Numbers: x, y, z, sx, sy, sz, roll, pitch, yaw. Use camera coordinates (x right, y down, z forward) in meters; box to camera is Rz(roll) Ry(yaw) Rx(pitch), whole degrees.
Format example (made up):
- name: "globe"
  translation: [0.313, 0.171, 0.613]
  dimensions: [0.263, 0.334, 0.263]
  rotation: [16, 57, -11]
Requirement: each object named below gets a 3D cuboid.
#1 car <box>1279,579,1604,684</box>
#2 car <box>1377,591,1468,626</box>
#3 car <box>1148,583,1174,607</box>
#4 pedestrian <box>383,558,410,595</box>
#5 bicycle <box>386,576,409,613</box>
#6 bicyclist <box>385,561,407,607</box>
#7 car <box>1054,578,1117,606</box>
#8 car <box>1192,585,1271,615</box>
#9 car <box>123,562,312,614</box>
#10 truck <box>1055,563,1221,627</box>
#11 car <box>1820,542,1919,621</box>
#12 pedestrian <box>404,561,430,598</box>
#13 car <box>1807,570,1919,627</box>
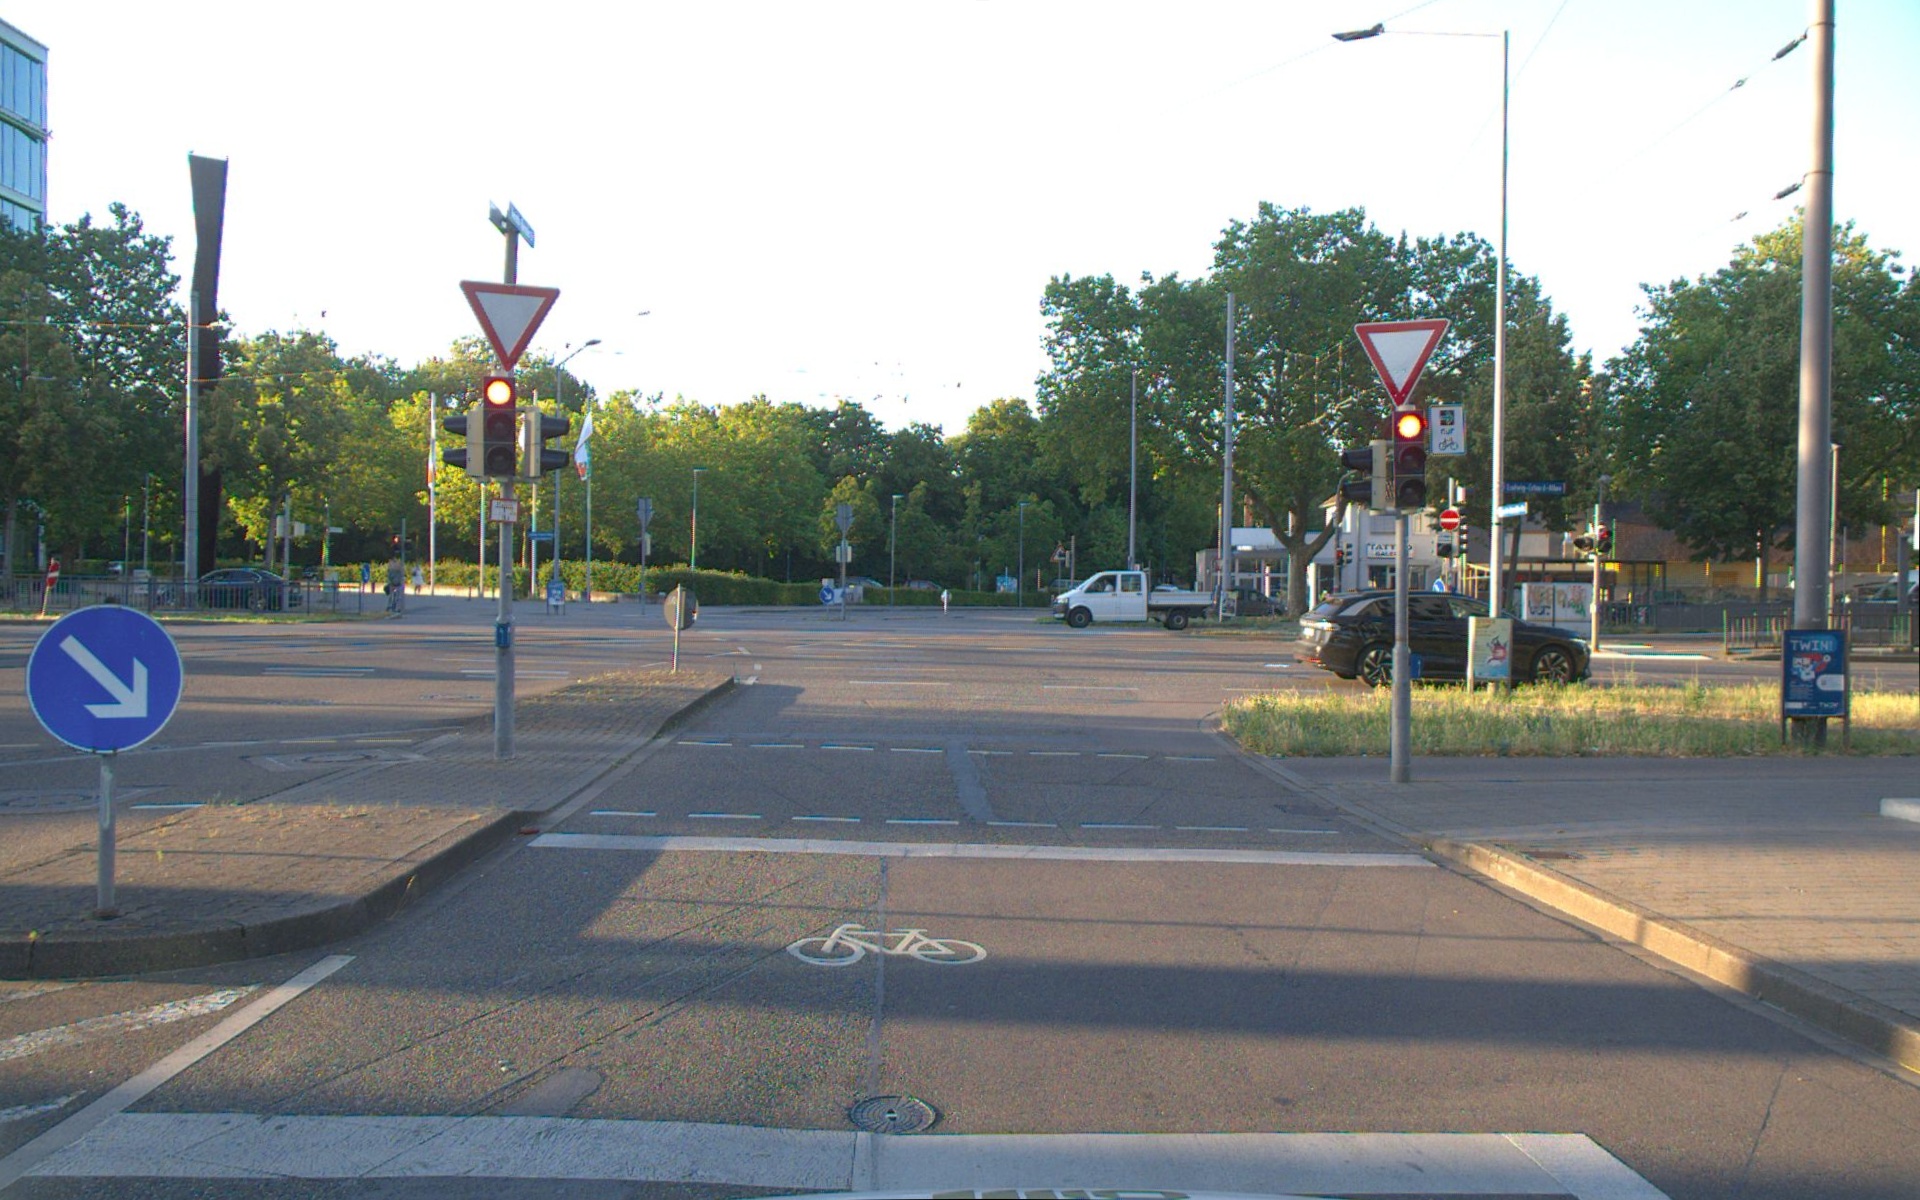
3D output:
- name: "car"
  translation: [7.953, 0.506, 27.601]
  dimensions: [4.811, 1.643, 1.998]
  rotation: [1, 0, -5]
- name: "car"
  translation: [20.274, 0.360, 72.566]
  dimensions: [3.659, 1.465, 1.665]
  rotation: [1, -1, 9]
- name: "car"
  translation: [15.997, -0.374, 131.429]
  dimensions: [1.823, 1.825, 4.003]
  rotation: [1, -1, 10]
- name: "pedestrian"
  translation: [-27.154, -1.115, 79.717]
  dimensions: [0.843, 1.774, 0.829]
  rotation: [1, 0, 26]
- name: "bicycle"
  translation: [-21.403, -0.206, 62.898]
  dimensions: [0.719, 1.364, 2.674]
  rotation: [1, 1, -21]
- name: "bicyclist"
  translation: [-21.466, -0.619, 62.963]
  dimensions: [0.740, 1.739, 0.914]
  rotation: [1, 0, -23]
- name: "car"
  translation: [9.507, -0.601, 126.019]
  dimensions: [4.675, 2.041, 2.000]
  rotation: [1, -1, 1]
- name: "car"
  translation: [14.652, 0.017, 89.381]
  dimensions: [4.129, 1.579, 2.001]
  rotation: [1, -1, 7]
- name: "car"
  translation: [-23.819, -0.375, 53.209]
  dimensions: [5.119, 1.579, 1.999]
  rotation: [1, -1, -2]
- name: "truck"
  translation: [6.052, -0.188, 56.751]
  dimensions: [5.443, 2.090, 2.068]
  rotation: [1, 0, 0]
- name: "car"
  translation: [34.394, -0.587, 58.239]
  dimensions: [6.777, 2.682, 2.811]
  rotation: [1, -1, -1]
- name: "pedestrian"
  translation: [-26.530, -0.999, 80.802]
  dimensions: [0.845, 1.774, 0.827]
  rotation: [1, 0, 34]
- name: "car"
  translation: [43.641, -0.080, 78.693]
  dimensions: [5.476, 2.596, 2.231]
  rotation: [1, 0, 7]
